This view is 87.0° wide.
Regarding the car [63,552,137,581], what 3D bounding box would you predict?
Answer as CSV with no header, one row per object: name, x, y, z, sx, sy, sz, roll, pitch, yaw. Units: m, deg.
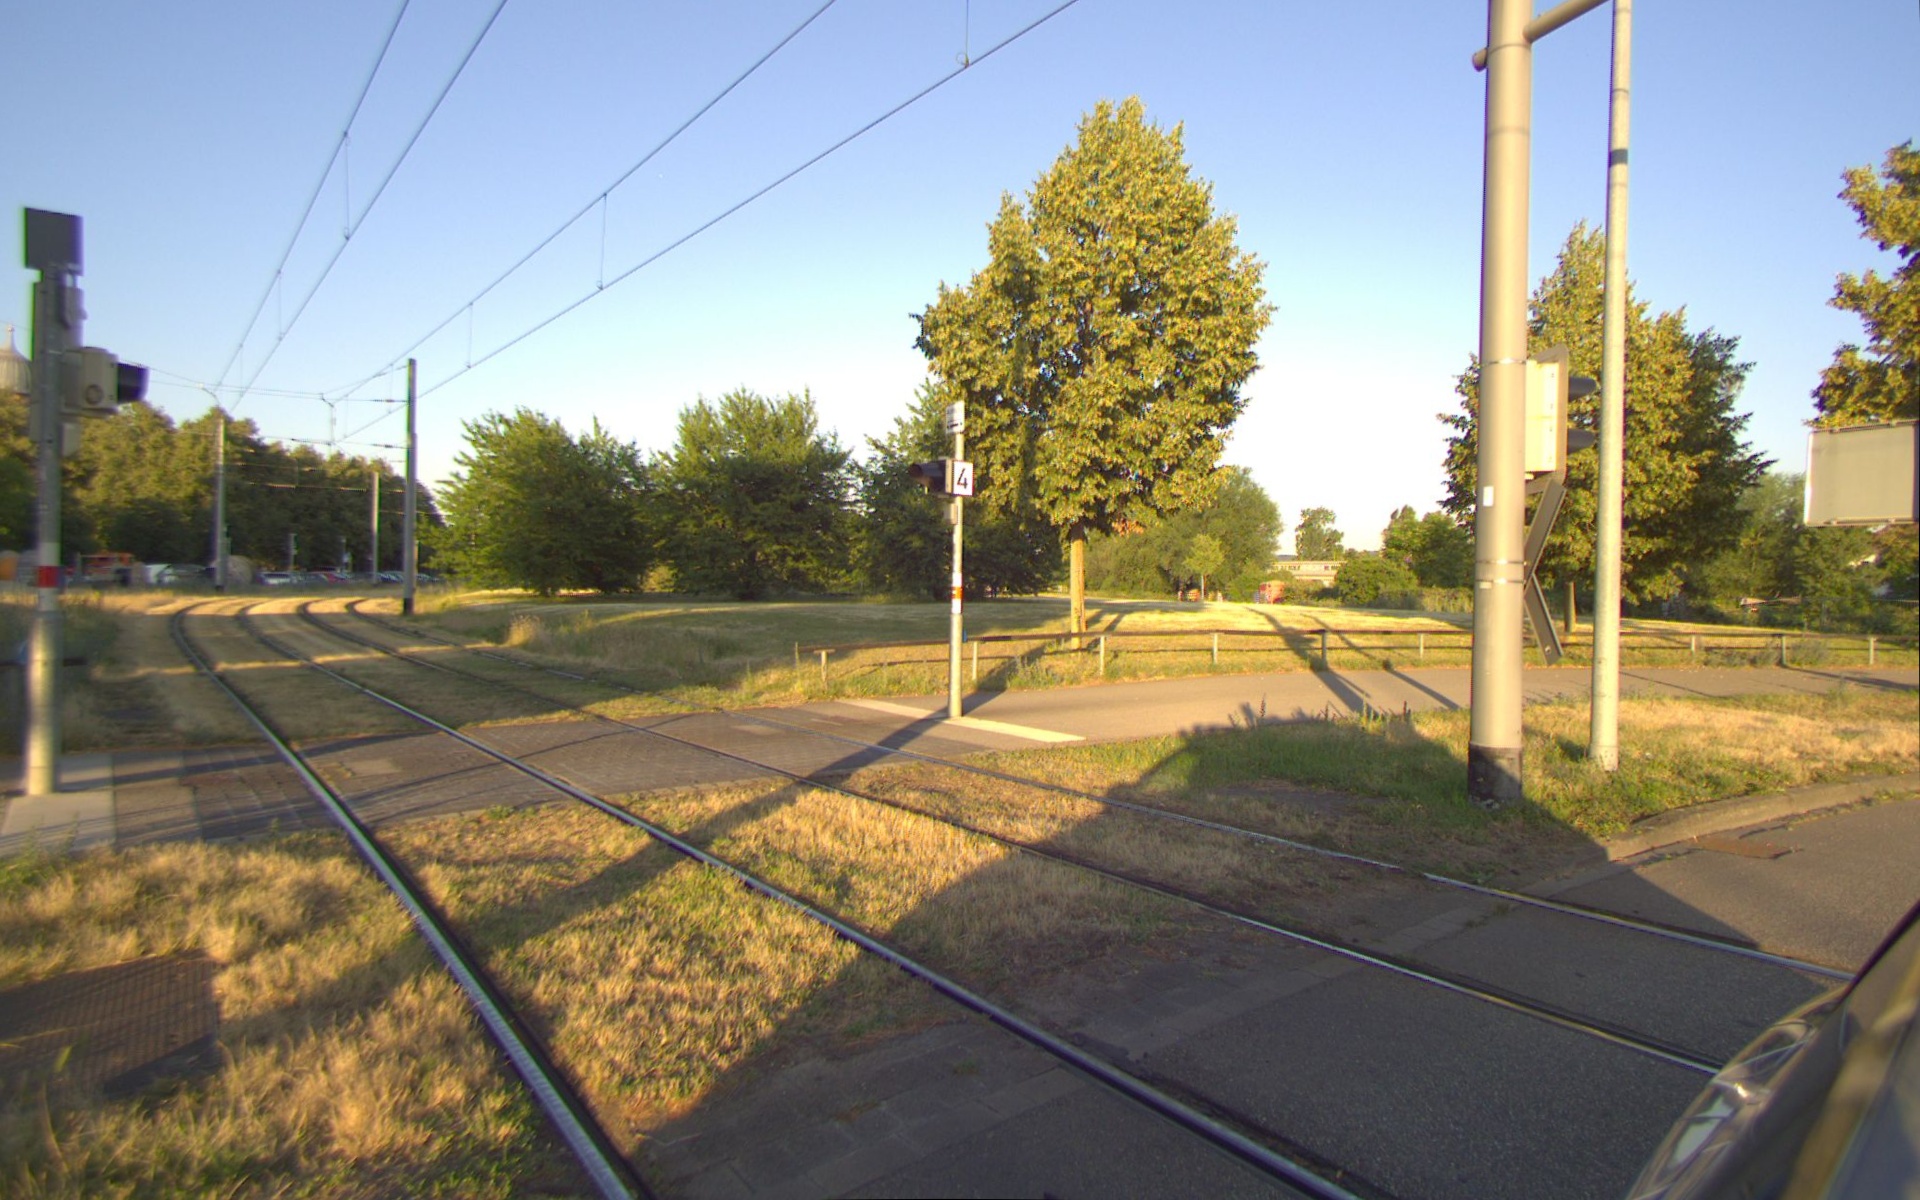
car,-66.178,-2.584,77.952,3.916,2.121,1.908,0,1,-19

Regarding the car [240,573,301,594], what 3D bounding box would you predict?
car,-52.761,-1.248,77.465,3.536,1.501,1.714,2,-1,-22

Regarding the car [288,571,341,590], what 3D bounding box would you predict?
car,-55.372,-1.664,86.886,3.536,1.501,1.714,2,-1,-22

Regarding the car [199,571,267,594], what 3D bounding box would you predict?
car,-51.130,-1.212,71.221,3.536,1.501,1.714,2,-1,-22

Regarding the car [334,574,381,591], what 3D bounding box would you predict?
car,-56.408,-1.610,94.832,3.536,1.501,1.714,2,-1,-22
